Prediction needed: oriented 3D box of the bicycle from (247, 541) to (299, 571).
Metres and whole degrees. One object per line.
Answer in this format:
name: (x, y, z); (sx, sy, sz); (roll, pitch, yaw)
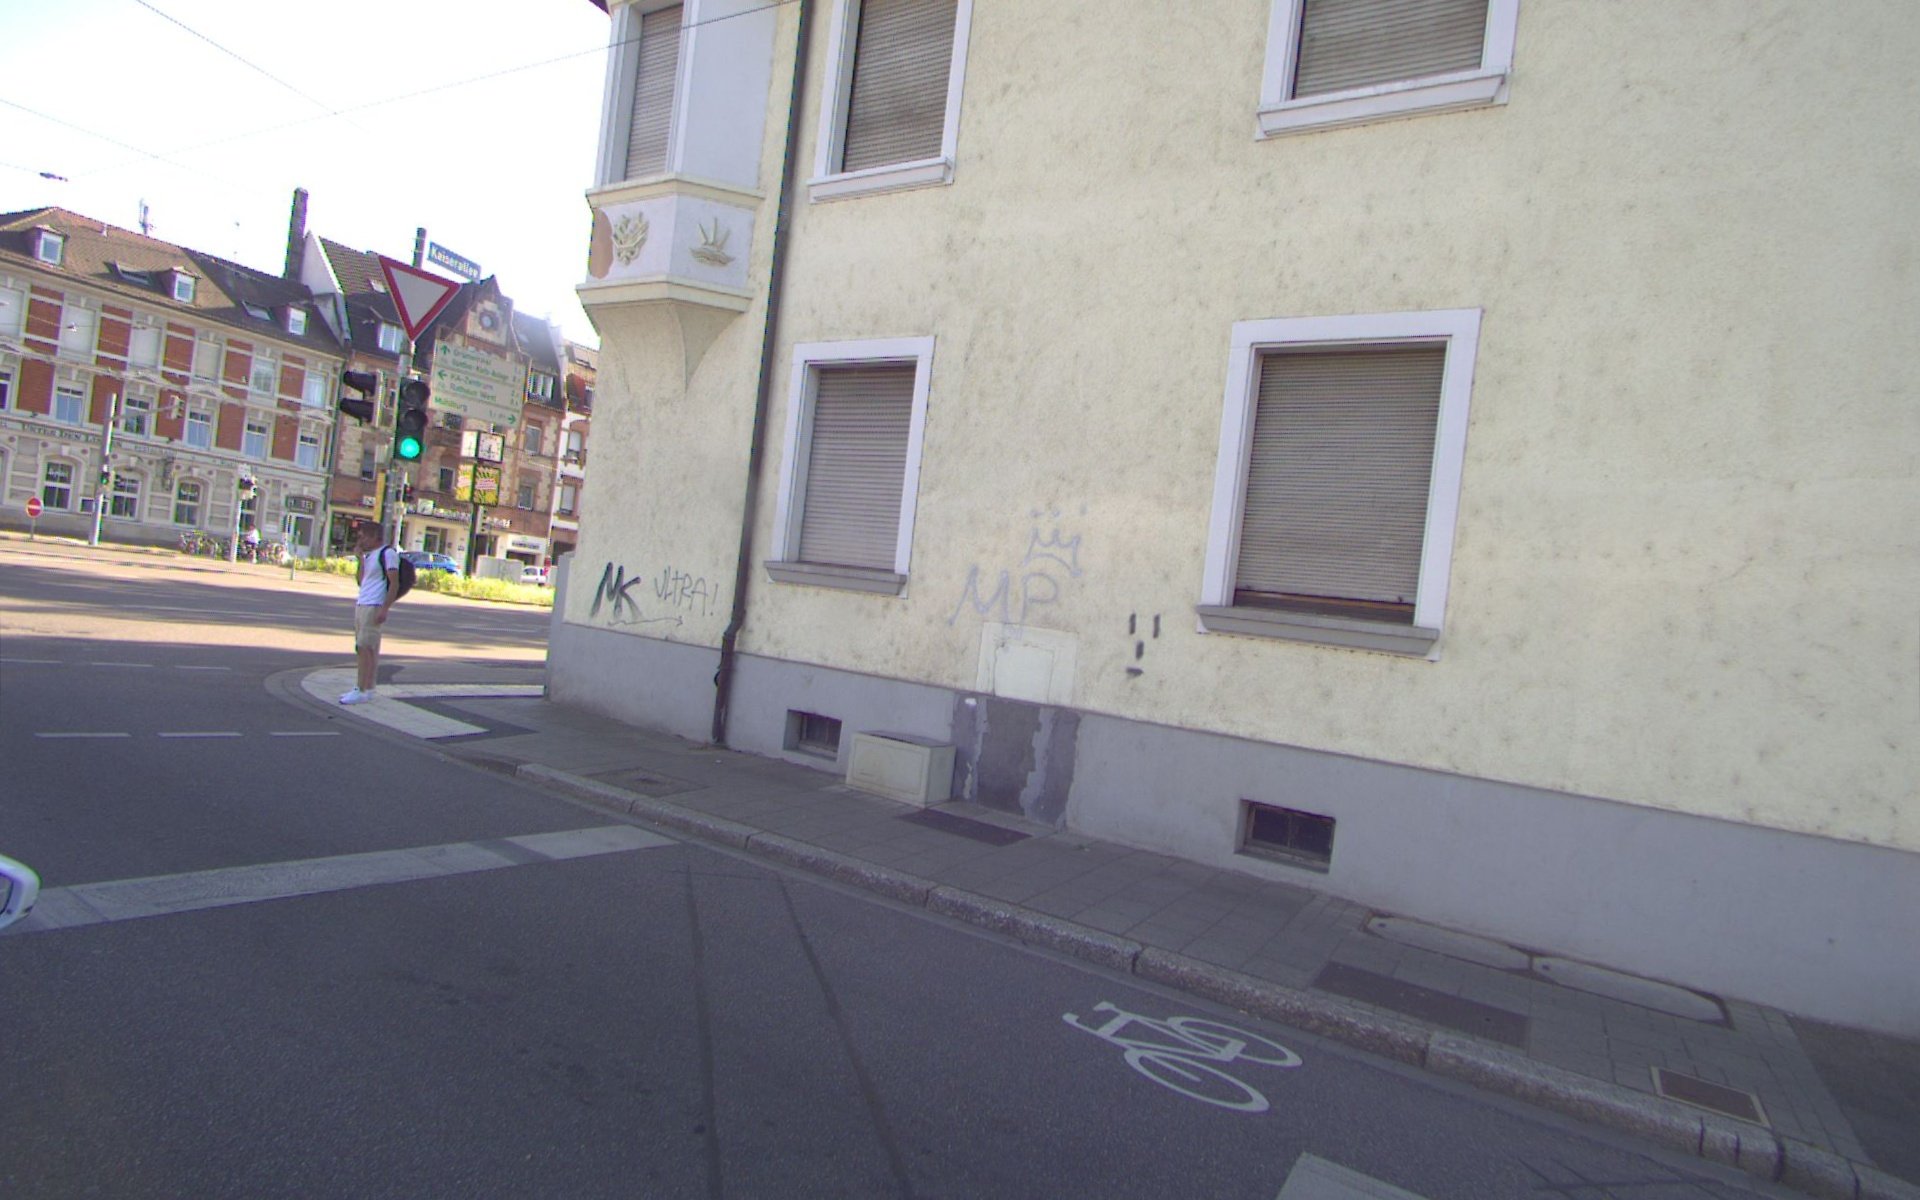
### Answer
bicycle: (-32.880, -2.096, 48.174); (0.667, 1.205, 1.968); (7, -1, 20)

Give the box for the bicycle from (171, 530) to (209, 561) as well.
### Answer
bicycle: (-34.882, -2.485, 45.580); (1.935, 1.205, 0.678); (7, 0, 33)

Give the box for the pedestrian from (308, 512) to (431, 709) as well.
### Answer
pedestrian: (-5.617, 0.091, 9.603); (0.661, 1.764, 0.689); (5, 2, 2)

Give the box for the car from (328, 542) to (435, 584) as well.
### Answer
car: (-27.827, -1.745, 48.475); (1.815, 1.429, 3.993); (7, -1, 31)

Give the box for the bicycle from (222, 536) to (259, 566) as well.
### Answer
bicycle: (-33.844, -2.319, 47.322); (1.935, 1.205, 0.678); (7, 0, 33)

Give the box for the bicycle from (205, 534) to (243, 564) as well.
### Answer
bicycle: (-34.200, -2.381, 46.750); (1.935, 1.205, 0.678); (7, 0, 33)

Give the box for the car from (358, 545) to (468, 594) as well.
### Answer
car: (-25.401, -1.385, 46.839); (1.922, 1.688, 3.993); (7, -1, 31)

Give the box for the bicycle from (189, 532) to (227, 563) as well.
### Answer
bicycle: (-34.542, -2.400, 46.194); (1.935, 1.205, 0.678); (7, 0, 33)

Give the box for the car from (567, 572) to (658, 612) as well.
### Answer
car: (-19.462, -0.406, 56.501); (1.922, 1.688, 4.480); (7, -1, 31)

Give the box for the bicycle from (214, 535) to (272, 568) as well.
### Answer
bicycle: (-32.394, -2.195, 45.465); (0.592, 1.205, 1.962); (7, -1, 34)

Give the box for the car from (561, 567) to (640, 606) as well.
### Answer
car: (-23.236, -0.848, 65.193); (1.922, 1.988, 4.411); (7, -1, 31)

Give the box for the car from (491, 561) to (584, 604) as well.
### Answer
car: (-21.918, -0.907, 52.342); (1.922, 1.688, 3.993); (7, -1, 31)

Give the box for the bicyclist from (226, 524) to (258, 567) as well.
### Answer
bicyclist: (-32.403, -2.471, 45.415); (0.592, 1.785, 0.873); (7, 0, 34)
